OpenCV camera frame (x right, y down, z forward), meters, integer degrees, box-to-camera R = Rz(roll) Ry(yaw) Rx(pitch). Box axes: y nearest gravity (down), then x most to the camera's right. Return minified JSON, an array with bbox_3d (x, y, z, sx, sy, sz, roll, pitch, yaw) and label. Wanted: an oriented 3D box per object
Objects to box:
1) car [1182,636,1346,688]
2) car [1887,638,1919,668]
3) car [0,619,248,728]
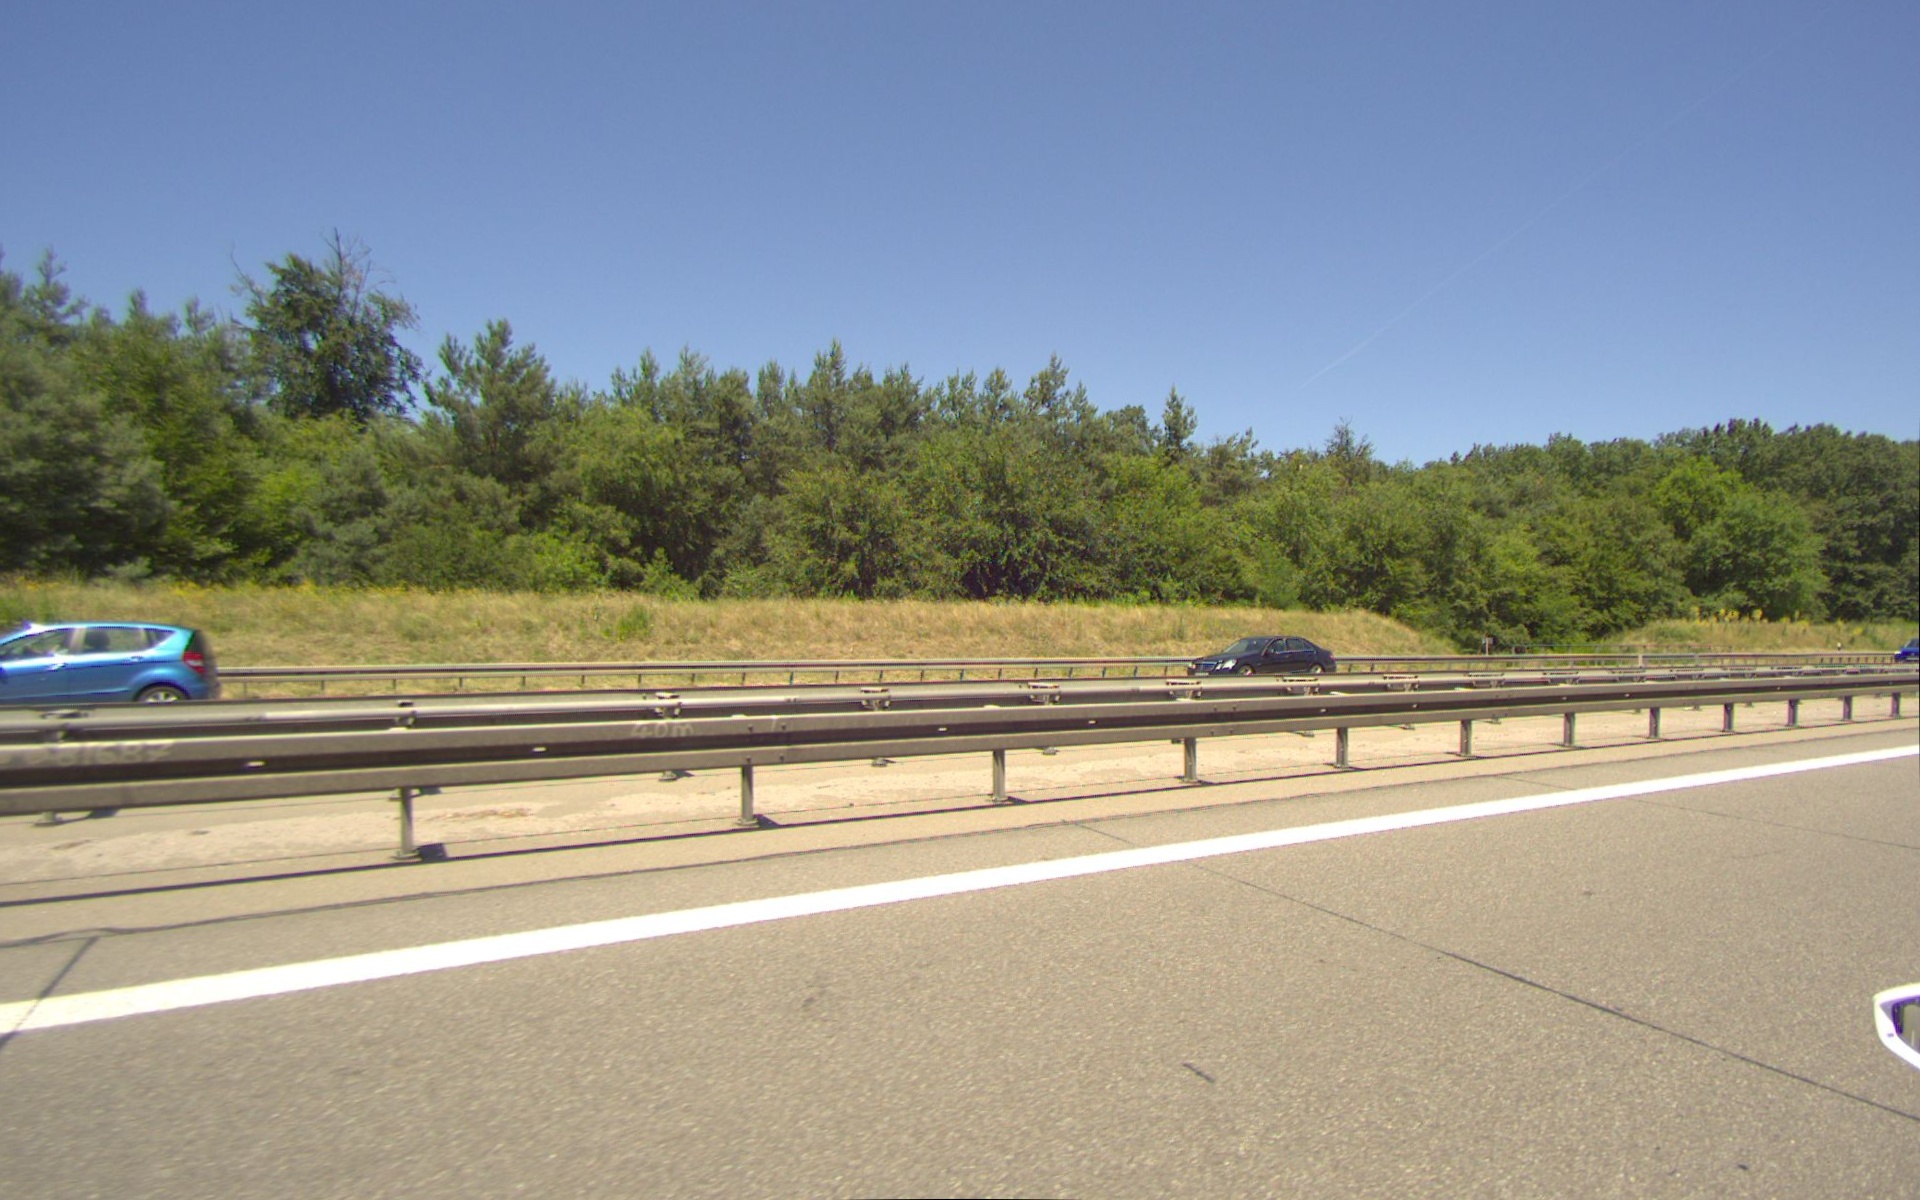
[{"bbox_3d":[8.732,1.735,28.738,4.833,1.383,1.668,1,-4,-31],"label":"car"},{"bbox_3d":[51.308,2.790,53.443,4.482,1.565,1.694,1,-4,-31],"label":"car"},{"bbox_3d":[-13.591,1.114,15.505,4.063,1.560,1.517,1,-4,-31],"label":"car"}]
